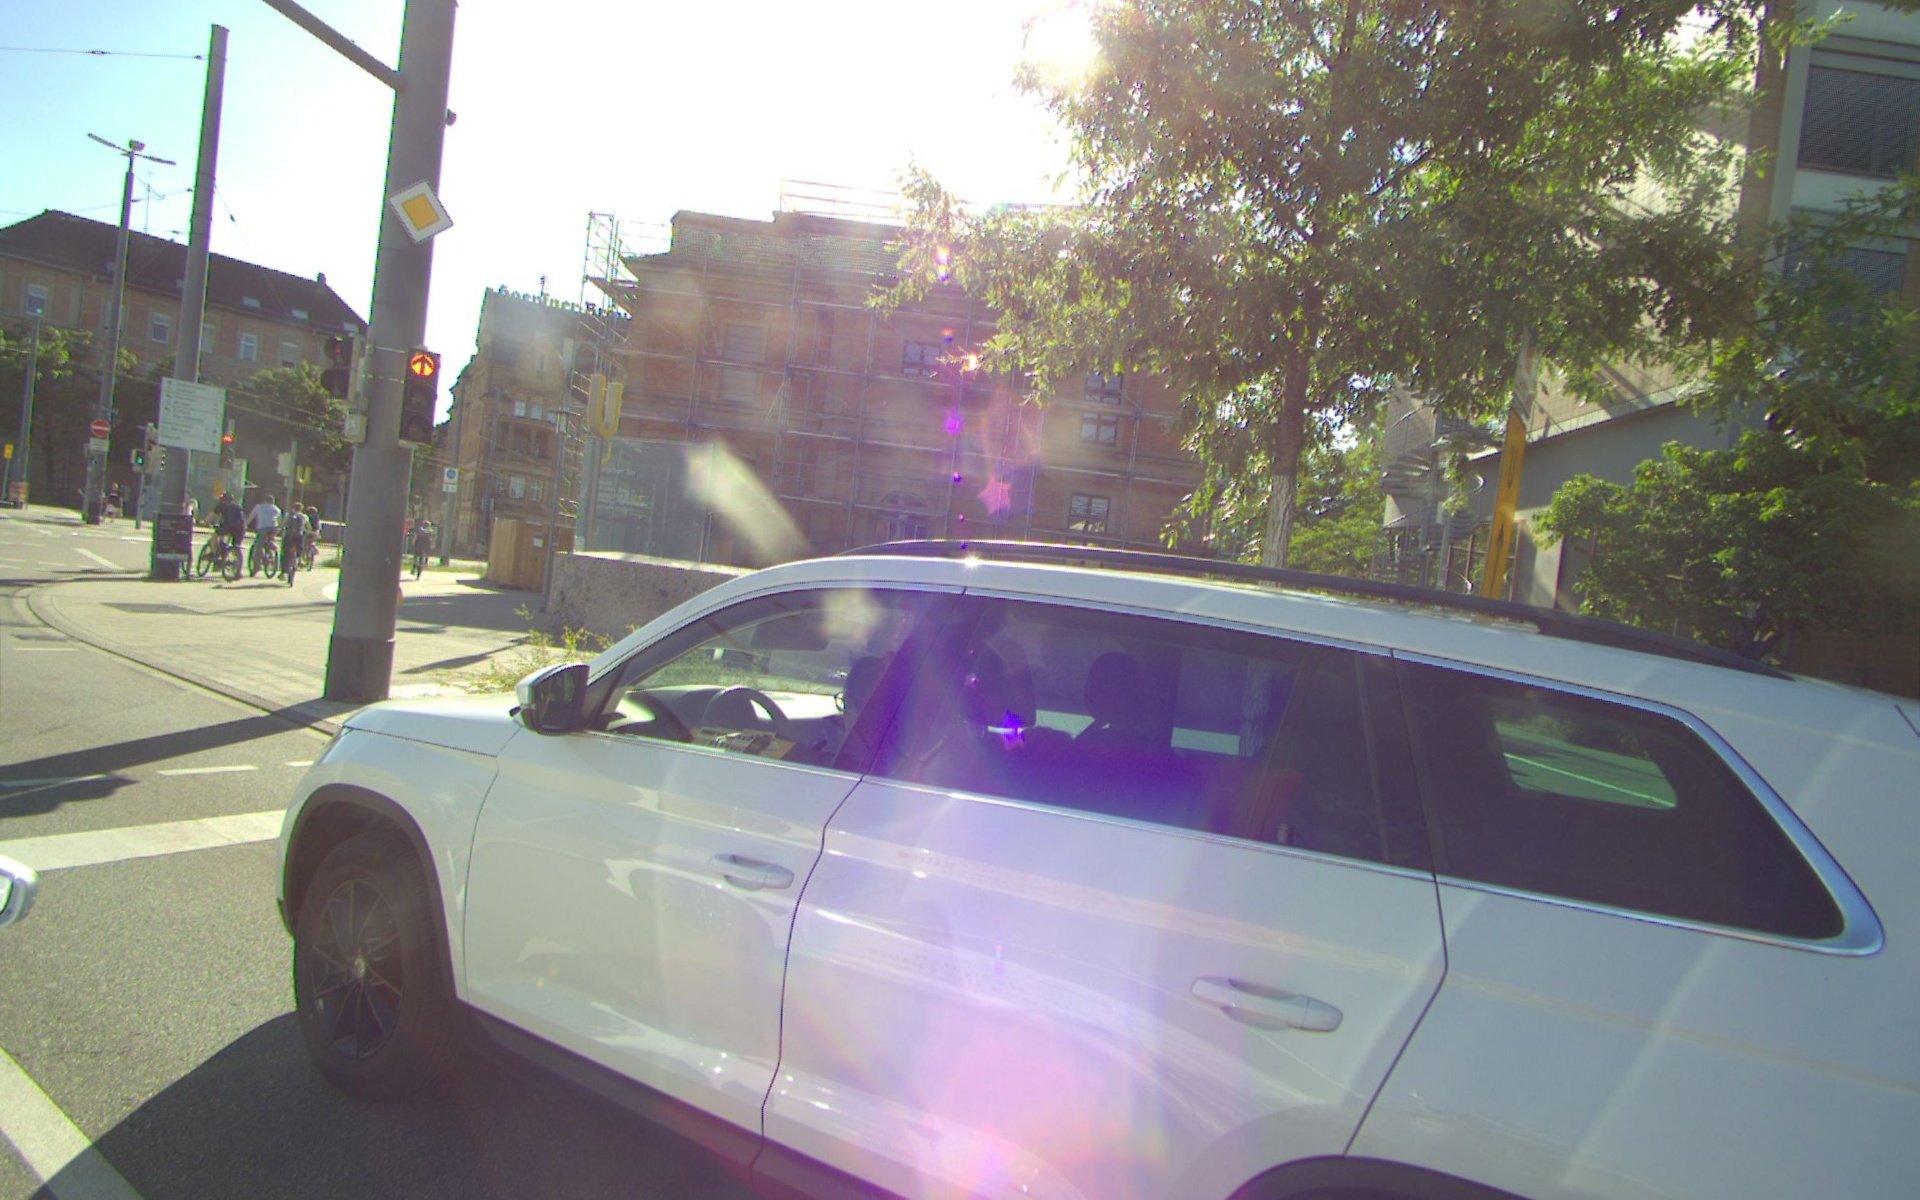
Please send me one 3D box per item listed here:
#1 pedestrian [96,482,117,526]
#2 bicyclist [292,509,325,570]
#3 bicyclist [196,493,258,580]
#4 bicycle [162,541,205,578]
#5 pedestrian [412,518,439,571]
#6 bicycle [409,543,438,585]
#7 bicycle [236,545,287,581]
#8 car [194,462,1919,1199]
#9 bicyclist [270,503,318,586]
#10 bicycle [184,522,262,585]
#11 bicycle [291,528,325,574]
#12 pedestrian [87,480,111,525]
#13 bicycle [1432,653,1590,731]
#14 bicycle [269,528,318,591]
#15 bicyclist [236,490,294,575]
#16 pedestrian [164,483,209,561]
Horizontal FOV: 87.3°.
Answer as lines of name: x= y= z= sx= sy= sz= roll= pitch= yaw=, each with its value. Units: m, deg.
pedestrian: x=-41.357 y=-4.669 z=48.762 sx=0.443 sy=2.039 sz=0.462 roll=7 pitch=2 yaw=14
bicyclist: x=-18.105 y=-1.681 z=27.954 sx=0.569 sy=1.588 sz=0.937 roll=7 pitch=1 yaw=-37
bicyclist: x=-15.068 y=-1.298 z=20.685 sx=0.978 sy=1.659 sz=0.625 roll=7 pitch=2 yaw=32
bicycle: x=-16.885 y=-0.882 z=21.865 sx=0.535 sy=0.664 sz=1.704 roll=3 pitch=3 yaw=-44
pedestrian: x=-15.053 y=-1.576 z=28.350 sx=0.510 sy=1.421 sz=0.955 roll=4 pitch=3 yaw=-24
bicycle: x=-15.067 y=-1.028 z=28.283 sx=0.510 sy=1.058 sz=1.757 roll=5 pitch=2 yaw=-24
bicycle: x=-15.890 y=-0.838 z=22.879 sx=1.446 sy=0.664 sz=0.536 roll=7 pitch=2 yaw=39
car: x=0.009 y=0.694 z=2.684 sx=4.224 sy=1.662 sz=1.697 roll=7 pitch=0 yaw=30
bicyclist: x=-13.784 y=-1.149 z=20.815 sx=0.681 sy=1.619 sz=0.967 roll=4 pitch=2 yaw=-37
bicycle: x=-15.231 y=-0.966 z=20.776 sx=1.820 sy=1.128 sz=0.625 roll=7 pitch=2 yaw=32
bicycle: x=-18.107 y=-1.360 z=27.913 sx=0.569 sy=1.139 sz=1.722 roll=7 pitch=0 yaw=-37
pedestrian: x=-41.159 y=-4.664 z=48.108 sx=0.443 sy=2.039 sz=0.574 roll=7 pitch=1 yaw=14
bicycle: x=13.088 y=2.166 z=23.997 sx=3.079 sy=1.395 sz=0.798 roll=7 pitch=1 yaw=8
bicycle: x=-13.862 y=-0.858 z=20.890 sx=0.681 sy=1.179 sz=1.864 roll=4 pitch=2 yaw=-37
bicyclist: x=-15.781 y=-1.536 z=22.834 sx=0.910 sy=1.802 sz=0.746 roll=8 pitch=2 yaw=39
pedestrian: x=-16.687 y=-1.692 z=21.692 sx=0.547 sy=1.582 sz=0.847 roll=6 pitch=1 yaw=-44
